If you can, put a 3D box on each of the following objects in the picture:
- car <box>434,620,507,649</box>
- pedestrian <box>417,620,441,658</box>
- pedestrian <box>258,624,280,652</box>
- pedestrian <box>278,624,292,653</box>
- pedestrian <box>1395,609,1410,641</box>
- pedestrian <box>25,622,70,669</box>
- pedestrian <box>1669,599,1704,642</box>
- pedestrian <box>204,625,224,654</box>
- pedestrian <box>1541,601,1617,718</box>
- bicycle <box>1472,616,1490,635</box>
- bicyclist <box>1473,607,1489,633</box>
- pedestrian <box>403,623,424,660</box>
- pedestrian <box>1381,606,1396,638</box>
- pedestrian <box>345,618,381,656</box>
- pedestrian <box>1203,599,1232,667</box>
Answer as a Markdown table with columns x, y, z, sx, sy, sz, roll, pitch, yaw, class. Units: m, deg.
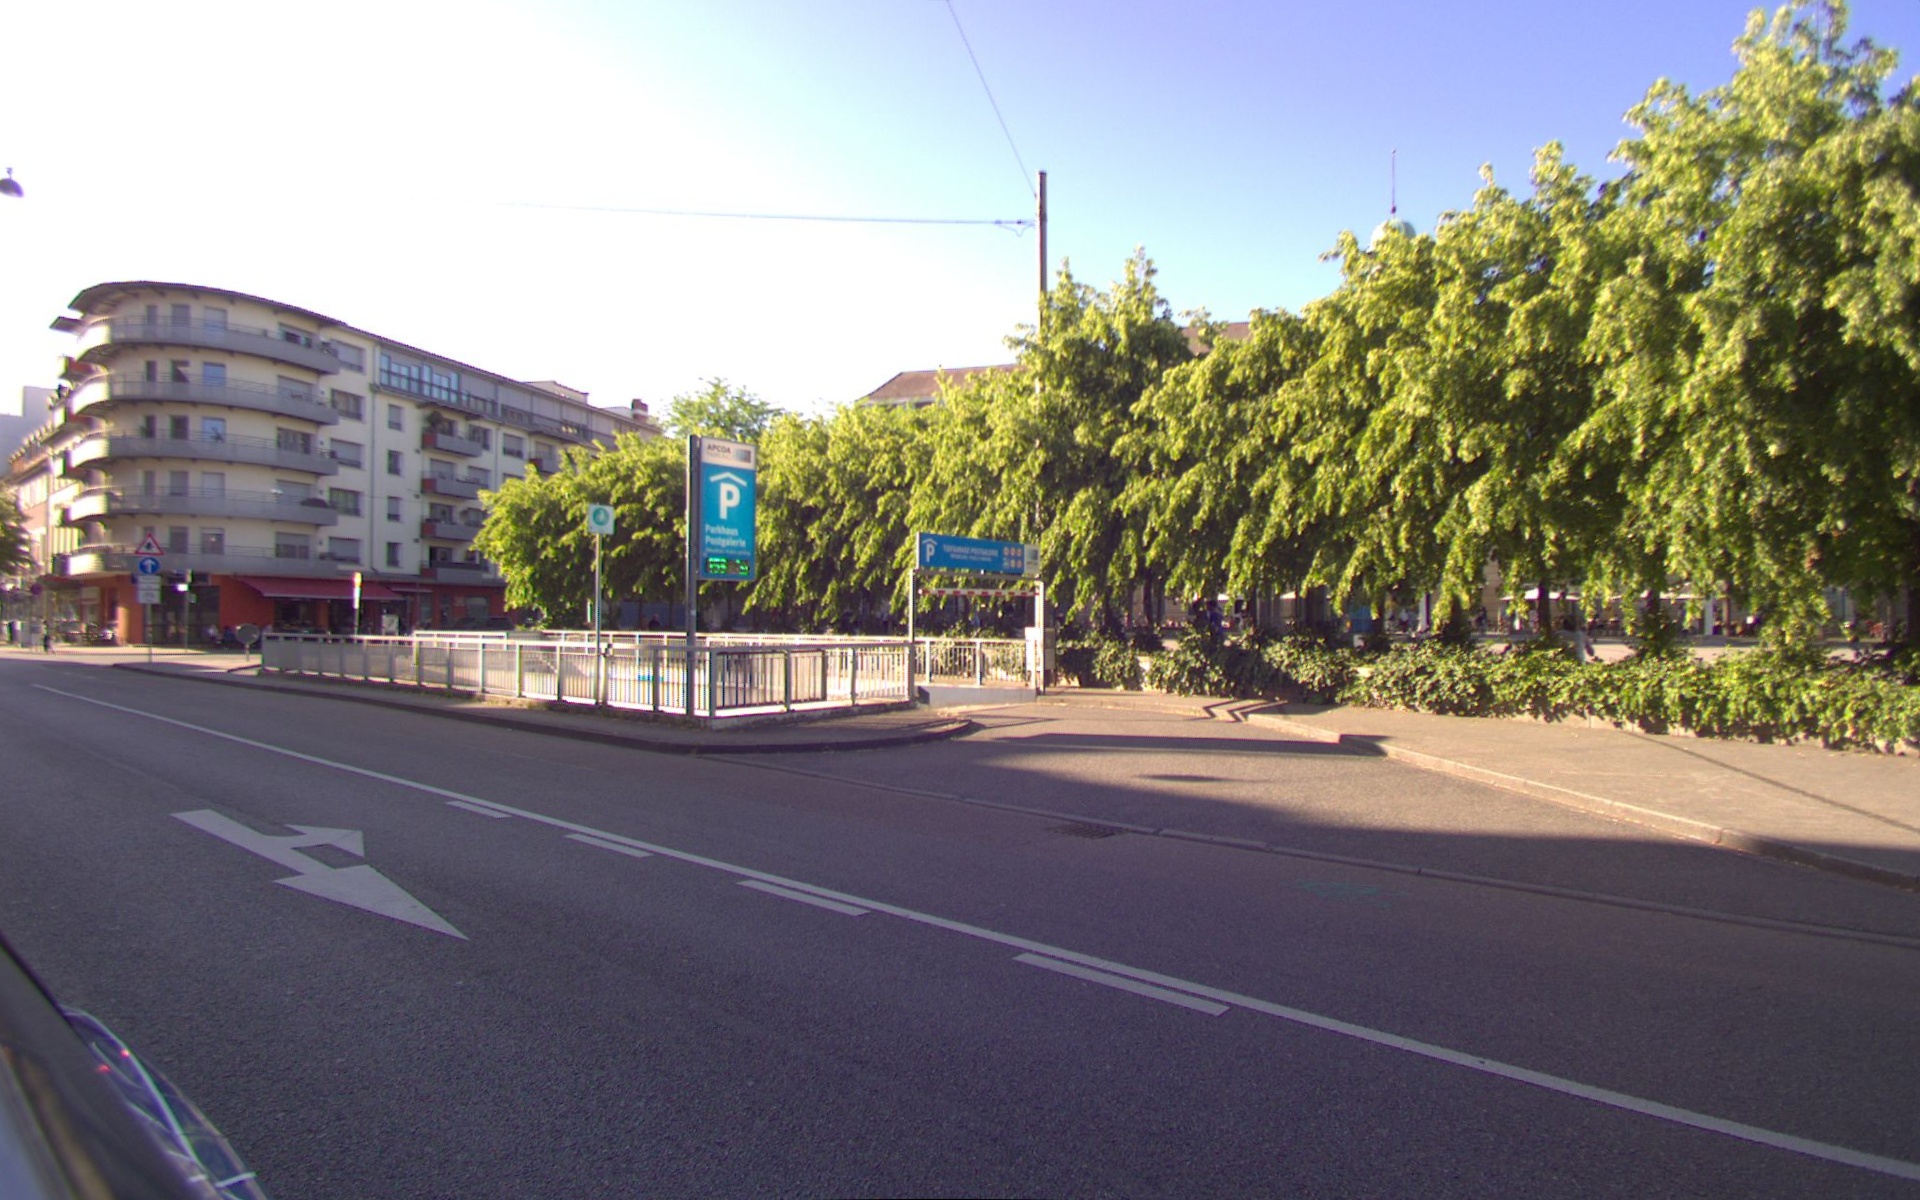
| x | y | z | sx | sy | sz | roll | pitch | yaw | class |
| --- | --- | --- | --- | --- | --- | --- | --- | --- | --- |
| -30.515 | 2.126 | 63.210 | 1.983 | 1.763 | 3.977 | -1 | -1 | 17 | car |
| -25.699 | 1.877 | 49.002 | 0.753 | 1.819 | 0.748 | -1 | -1 | 25 | pedestrian |
| -36.725 | 2.020 | 53.778 | 0.782 | 1.473 | 0.582 | 0 | -1 | 3 | pedestrian |
| -35.305 | 2.016 | 52.898 | 0.573 | 1.501 | 0.794 | 0 | -1 | -36 | pedestrian |
| 27.438 | 1.562 | 62.743 | 0.751 | 1.948 | 0.938 | -1 | -1 | 20 | pedestrian |
| -40.391 | 2.004 | 44.819 | 1.004 | 2.029 | 1.202 | -1 | 0 | -9 | pedestrian |
| 29.969 | 0.854 | 41.772 | 0.889 | 1.771 | 0.735 | -1 | -1 | 9 | pedestrian |
| -37.727 | 1.982 | 51.208 | 0.780 | 1.472 | 0.583 | 0 | -1 | -40 | pedestrian |
| 9.777 | 0.913 | 15.981 | 0.885 | 1.771 | 0.738 | 0 | -1 | -39 | pedestrian |
| 28.212 | 1.380 | 54.806 | 0.584 | 0.961 | 1.894 | 0 | -2 | 19 | bicycle |
| 28.231 | 1.077 | 54.811 | 0.668 | 1.439 | 0.694 | -1 | -1 | 20 | bicyclist |
| -26.103 | 1.967 | 48.335 | 0.697 | 1.719 | 0.667 | -1 | -1 | 33 | pedestrian |
| 26.766 | 1.382 | 63.208 | 0.751 | 1.948 | 0.938 | -1 | -1 | 20 | pedestrian |
| -32.743 | 2.006 | 55.509 | 1.251 | 2.029 | 1.226 | -1 | -1 | 19 | pedestrian |
| 6.454 | 0.825 | 25.378 | 0.672 | 1.683 | 0.843 | -1 | -1 | 13 | pedestrian |
